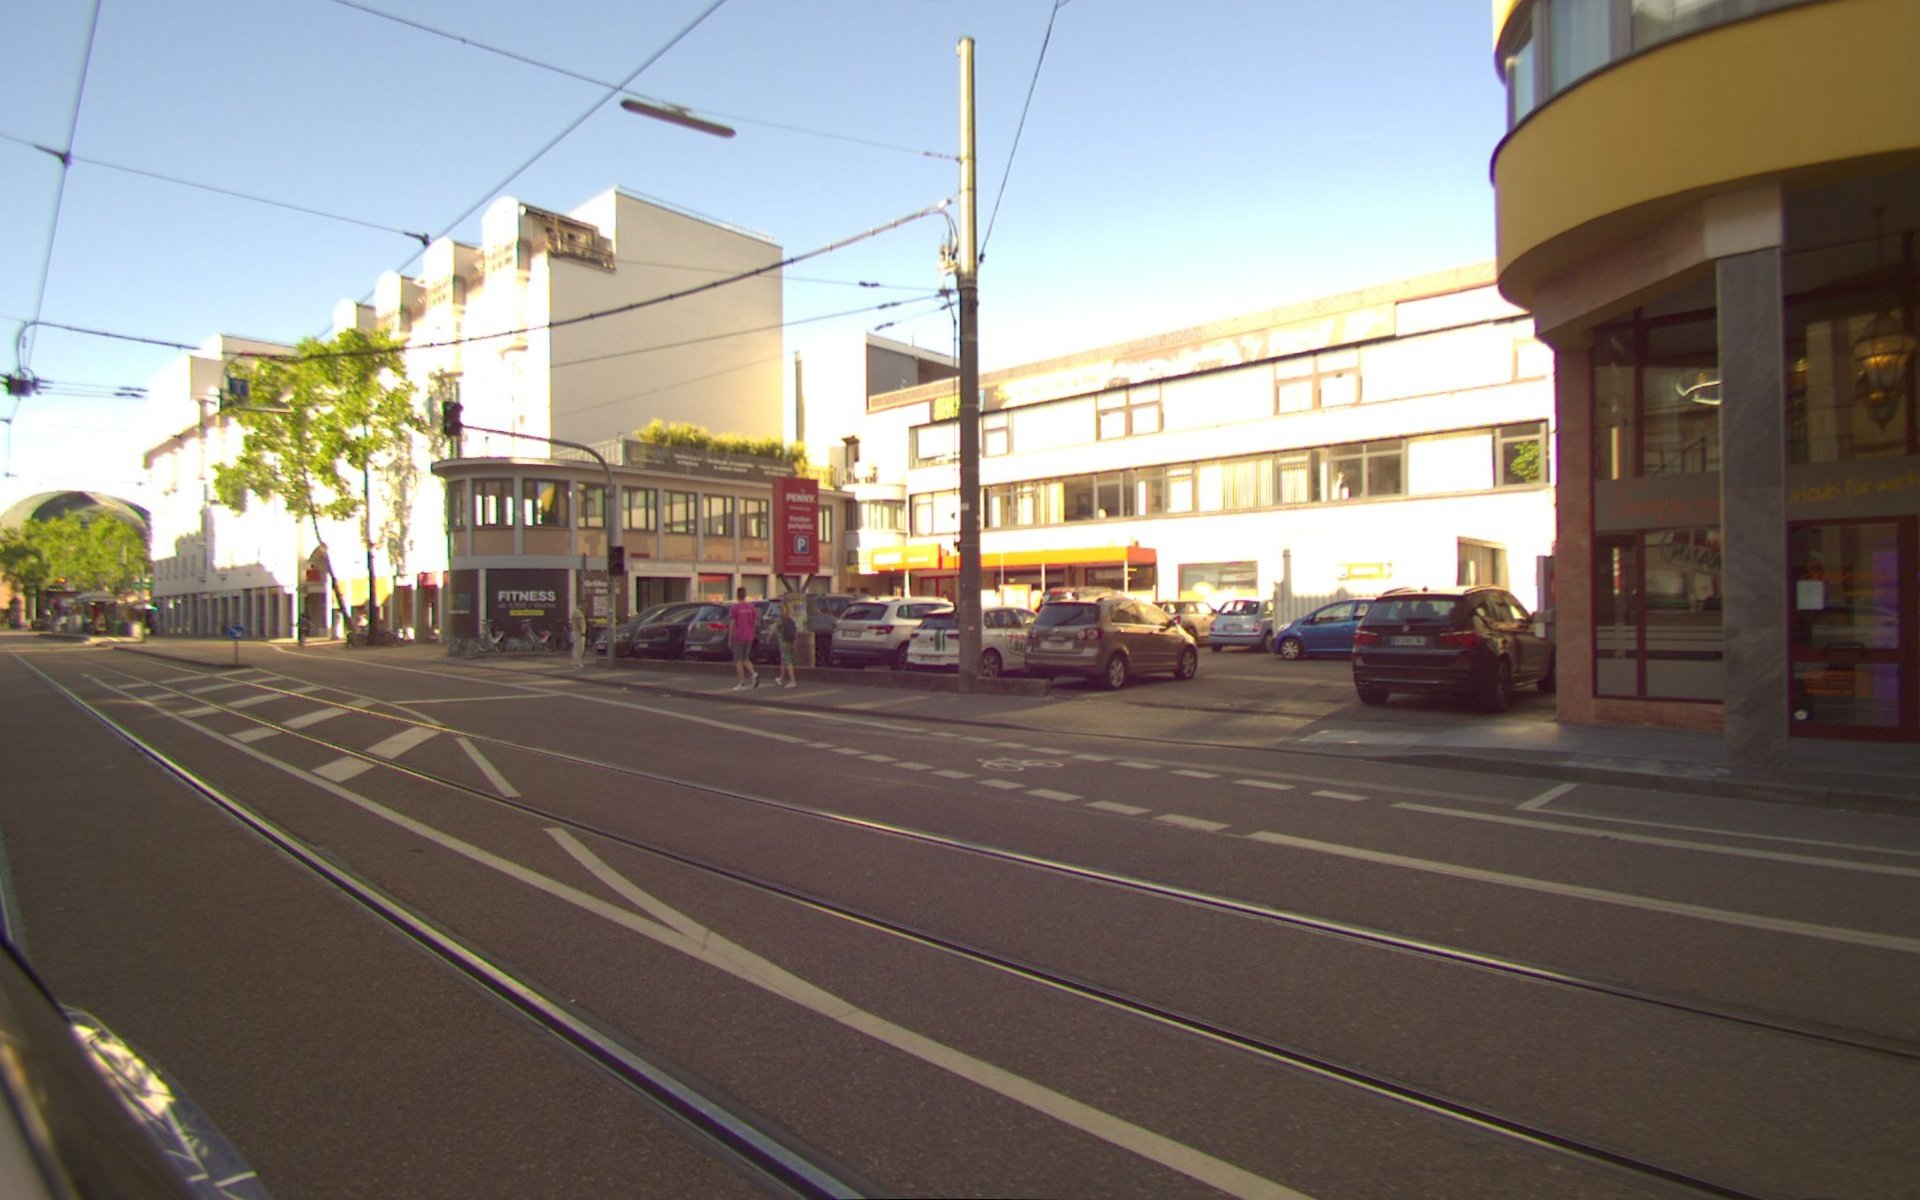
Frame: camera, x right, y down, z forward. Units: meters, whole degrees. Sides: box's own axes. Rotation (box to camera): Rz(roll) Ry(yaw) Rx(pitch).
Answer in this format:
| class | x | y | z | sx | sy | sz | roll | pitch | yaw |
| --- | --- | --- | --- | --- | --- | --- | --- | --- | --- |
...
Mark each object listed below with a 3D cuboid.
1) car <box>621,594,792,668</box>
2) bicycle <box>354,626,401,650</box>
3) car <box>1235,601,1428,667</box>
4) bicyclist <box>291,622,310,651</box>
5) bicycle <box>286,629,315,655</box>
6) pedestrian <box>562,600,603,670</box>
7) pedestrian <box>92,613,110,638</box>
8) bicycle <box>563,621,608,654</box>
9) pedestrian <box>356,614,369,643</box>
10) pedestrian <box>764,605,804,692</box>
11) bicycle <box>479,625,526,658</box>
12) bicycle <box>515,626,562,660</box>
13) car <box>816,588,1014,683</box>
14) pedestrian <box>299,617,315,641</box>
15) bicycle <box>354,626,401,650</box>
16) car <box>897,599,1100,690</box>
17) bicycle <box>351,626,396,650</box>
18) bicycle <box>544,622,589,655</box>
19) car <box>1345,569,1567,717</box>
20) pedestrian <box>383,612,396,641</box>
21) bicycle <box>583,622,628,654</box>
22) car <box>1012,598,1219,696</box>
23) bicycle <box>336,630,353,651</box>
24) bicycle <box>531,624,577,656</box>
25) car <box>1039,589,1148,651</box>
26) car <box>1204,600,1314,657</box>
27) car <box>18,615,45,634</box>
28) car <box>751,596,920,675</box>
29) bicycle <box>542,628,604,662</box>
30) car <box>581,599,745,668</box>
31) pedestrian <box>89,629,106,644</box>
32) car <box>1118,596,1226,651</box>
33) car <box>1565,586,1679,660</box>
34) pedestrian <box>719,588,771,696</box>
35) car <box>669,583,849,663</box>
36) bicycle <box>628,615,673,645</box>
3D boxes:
| class | x | y | z | sx | sy | sz | roll | pitch | yaw |
| --- | --- | --- | --- | --- | --- | --- | --- | --- | --- |
| car | -6.746 | 0.783 | 27.237 | 1.785 | 1.826 | 4.188 | -1 | -1 | 42 |
| bicycle | -27.362 | 1.773 | 47.571 | 1.849 | 1.085 | 0.465 | 0 | -1 | -40 |
| car | 8.853 | 0.762 | 24.271 | 3.997 | 1.465 | 1.761 | -1 | -1 | 40 |
| bicyclist | -31.814 | 1.751 | 48.793 | 0.718 | 1.371 | 0.557 | 1 | -1 | 39 |
| bicycle | -31.866 | 2.027 | 48.889 | 2.003 | 1.131 | 0.558 | -1 | 5 | 41 |
| pedestrian | -9.836 | 0.896 | 26.369 | 0.778 | 1.777 | 0.707 | -1 | -1 | 35 |
| pedestrian | -55.780 | 1.653 | 65.725 | 0.747 | 1.657 | 0.784 | -2 | -1 | 43 |
| bicycle | -12.696 | 1.265 | 34.311 | 1.875 | 1.085 | 0.459 | 0 | 0 | 35 |
| pedestrian | -34.271 | 1.645 | 58.053 | 0.523 | 1.657 | 0.556 | -2 | -1 | 43 |
| pedestrian | -3.370 | 0.912 | 19.386 | 0.499 | 1.629 | 0.566 | -1 | -1 | 41 |
| bicycle | -15.053 | 1.365 | 33.293 | 1.875 | 1.044 | 0.519 | -1 | -1 | 35 |
| bicycle | -13.758 | 1.384 | 33.014 | 1.875 | 1.088 | 0.459 | -1 | -1 | 35 |
| car | -0.867 | 0.720 | 21.689 | 1.785 | 1.825 | 4.188 | 2 | 0 | 42 |
| pedestrian | -44.385 | 1.971 | 68.786 | 0.731 | 1.657 | 0.737 | -2 | -1 | 43 |
| bicycle | -27.065 | 1.763 | 47.072 | 1.849 | 1.085 | 0.465 | 0 | -1 | -40 |
| car | 0.855 | 0.819 | 20.160 | 1.785 | 1.621 | 4.188 | -1 | -1 | 42 |
| bicycle | -28.018 | 1.802 | 48.363 | 1.849 | 1.085 | 0.465 | 0 | -1 | -40 |
| bicycle | -13.210 | 1.275 | 33.938 | 1.875 | 1.095 | 0.459 | -1 | -1 | 35 |
| car | 7.274 | 0.554 | 14.630 | 1.785 | 1.826 | 4.188 | -1 | -1 | 42 |
| pedestrian | -33.295 | 1.559 | 59.058 | 0.523 | 1.657 | 0.556 | -1 | -1 | 43 |
| bicycle | -12.283 | 1.313 | 35.053 | 1.874 | 1.085 | 0.459 | -1 | -1 | 34 |
| car | 2.968 | 0.772 | 18.652 | 1.785 | 1.560 | 4.188 | 0 | 0 | 42 |
| bicycle | -28.579 | 1.870 | 47.010 | 0.463 | 0.939 | 1.757 | 0 | -1 | -38 |
| bicycle | -13.470 | 1.312 | 33.531 | 1.875 | 1.044 | 0.459 | -1 | -1 | 35 |
| car | 4.156 | 0.589 | 31.085 | 1.694 | 1.762 | 3.542 | -1 | -1 | 40 |
| car | 8.395 | 0.760 | 28.292 | 1.694 | 1.490 | 3.542 | -1 | -1 | 40 |
| car | -108.552 | 2.879 | 118.336 | 3.998 | 2.029 | 1.860 | -3 | 0 | 41 |
| car | -2.855 | 0.776 | 23.681 | 1.785 | 1.685 | 3.650 | -1 | -1 | 42 |
| bicycle | -12.431 | 1.434 | 32.543 | 1.847 | 1.044 | 0.427 | 0 | -1 | -23 |
| car | -8.425 | 0.895 | 28.970 | 1.785 | 1.776 | 4.188 | -1 | 0 | 42 |
| pedestrian | -58.523 | 2.483 | 68.688 | 0.747 | 0.996 | 0.784 | -1 | -1 | 43 |
| car | 6.344 | 0.681 | 30.052 | 1.626 | 1.493 | 3.600 | 2 | 0 | 40 |
| car | 14.587 | 0.482 | 22.239 | 1.694 | 1.490 | 3.542 | -1 | -1 | 40 |
| pedestrian | -3.999 | 0.770 | 18.808 | 0.709 | 1.961 | 0.631 | -1 | -1 | 41 |
| car | -4.943 | 0.555 | 25.307 | 1.785 | 1.826 | 4.188 | -1 | -1 | 42 |
| bicycle | -11.133 | 1.073 | 36.368 | 1.874 | 1.085 | 0.459 | -1 | -1 | 34 |
